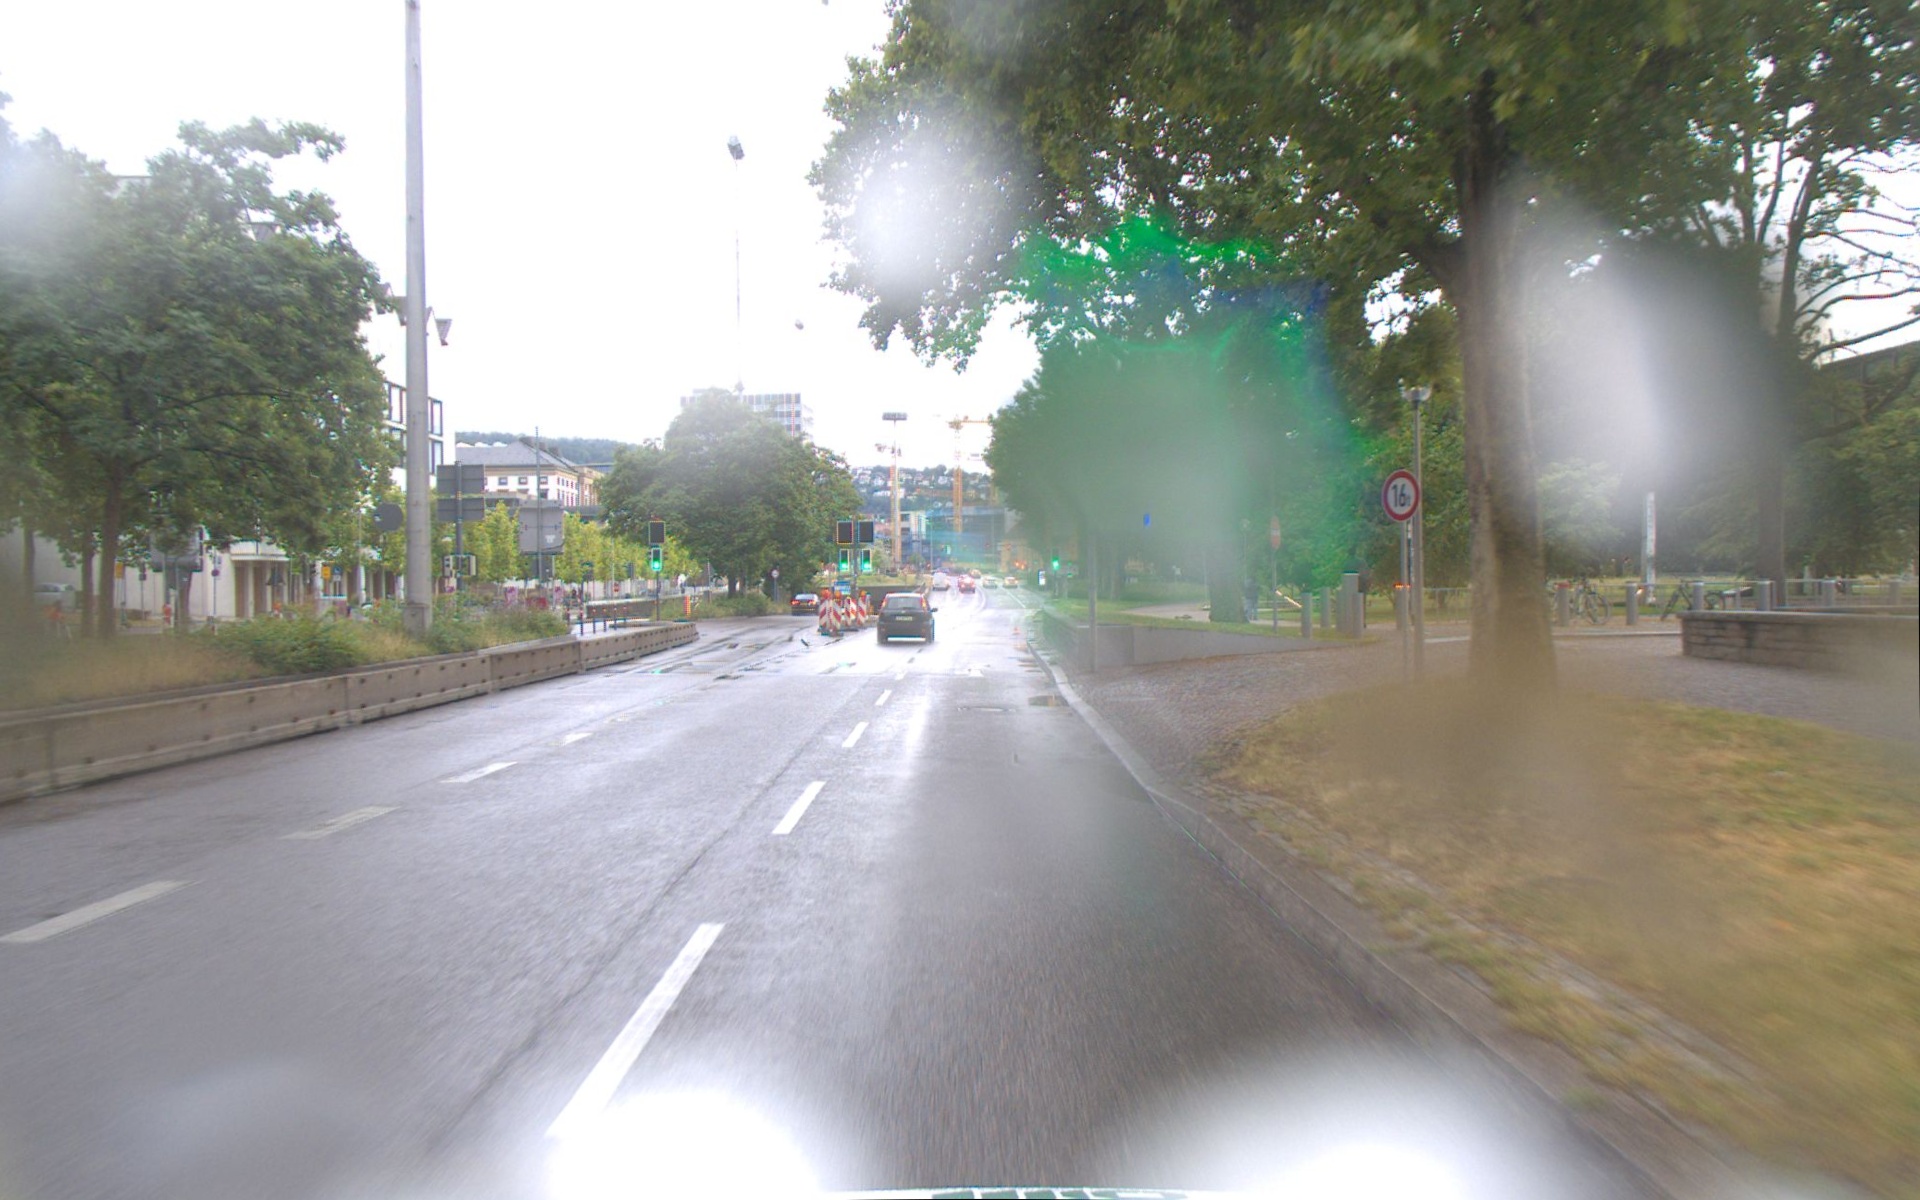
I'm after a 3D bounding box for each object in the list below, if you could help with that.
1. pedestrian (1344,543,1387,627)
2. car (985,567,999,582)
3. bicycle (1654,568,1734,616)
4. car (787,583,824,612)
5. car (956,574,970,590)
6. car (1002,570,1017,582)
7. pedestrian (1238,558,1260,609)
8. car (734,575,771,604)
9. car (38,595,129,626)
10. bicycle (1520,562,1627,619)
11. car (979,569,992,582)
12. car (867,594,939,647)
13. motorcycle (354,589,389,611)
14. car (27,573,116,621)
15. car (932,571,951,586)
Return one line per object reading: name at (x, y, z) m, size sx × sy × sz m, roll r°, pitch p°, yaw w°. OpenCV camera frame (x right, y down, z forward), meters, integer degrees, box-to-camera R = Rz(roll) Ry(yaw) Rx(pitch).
pedestrian at (8.625, -0.321, 35.199) m, size 0.691 × 1.748 × 0.692 m, roll -2°, pitch 0°, yaw 0°
car at (4.650, -3.704, 239.632) m, size 1.947 × 2.049 × 4.000 m, roll -2°, pitch -1°, yaw 0°
bicycle at (17.703, -0.196, 39.907) m, size 1.609 × 1.104 × 0.708 m, roll -1°, pitch 1°, yaw -6°
car at (-10.103, -0.168, 108.212) m, size 1.952 × 1.812 × 4.001 m, roll -1°, pitch 1°, yaw 1°
car at (0.425, -2.286, 211.310) m, size 1.703 × 1.802 × 4.000 m, roll -2°, pitch -1°, yaw 1°
car at (7.252, -3.544, 242.114) m, size 1.952 × 1.627 × 4.001 m, roll -2°, pitch -1°, yaw 3°
pedestrian at (10.427, -0.598, 59.681) m, size 0.582 × 1.786 × 0.725 m, roll -2°, pitch 1°, yaw -3°
car at (-12.136, -0.616, 97.006) m, size 1.955 × 1.661 × 3.996 m, roll -1°, pitch 0°, yaw -5°
car at (-48.363, 0.560, 91.321) m, size 3.907 × 1.624 × 1.999 m, roll -1°, pitch 0°, yaw -3°
bicycle at (13.378, -0.211, 36.094) m, size 1.998 × 1.194 × 0.957 m, roll -1°, pitch 1°, yaw -11°
car at (3.756, -3.607, 245.256) m, size 1.677 × 1.719 × 3.850 m, roll -2°, pitch -1°, yaw 3°
car at (-1.739, 0.600, 49.383) m, size 1.809 × 1.441 × 3.834 m, roll -2°, pitch -1°, yaw -6°
motorcycle at (-33.065, 0.008, 92.932) m, size 1.813 × 1.174 × 0.423 m, roll -2°, pitch 0°, yaw -28°
car at (-50.079, -0.200, 93.296) m, size 3.905 × 2.045 × 2.003 m, roll 6°, pitch 7°, yaw 5°
car at (-2.473, -2.910, 223.508) m, size 2.173 × 2.049 × 4.003 m, roll -1°, pitch 1°, yaw 5°
